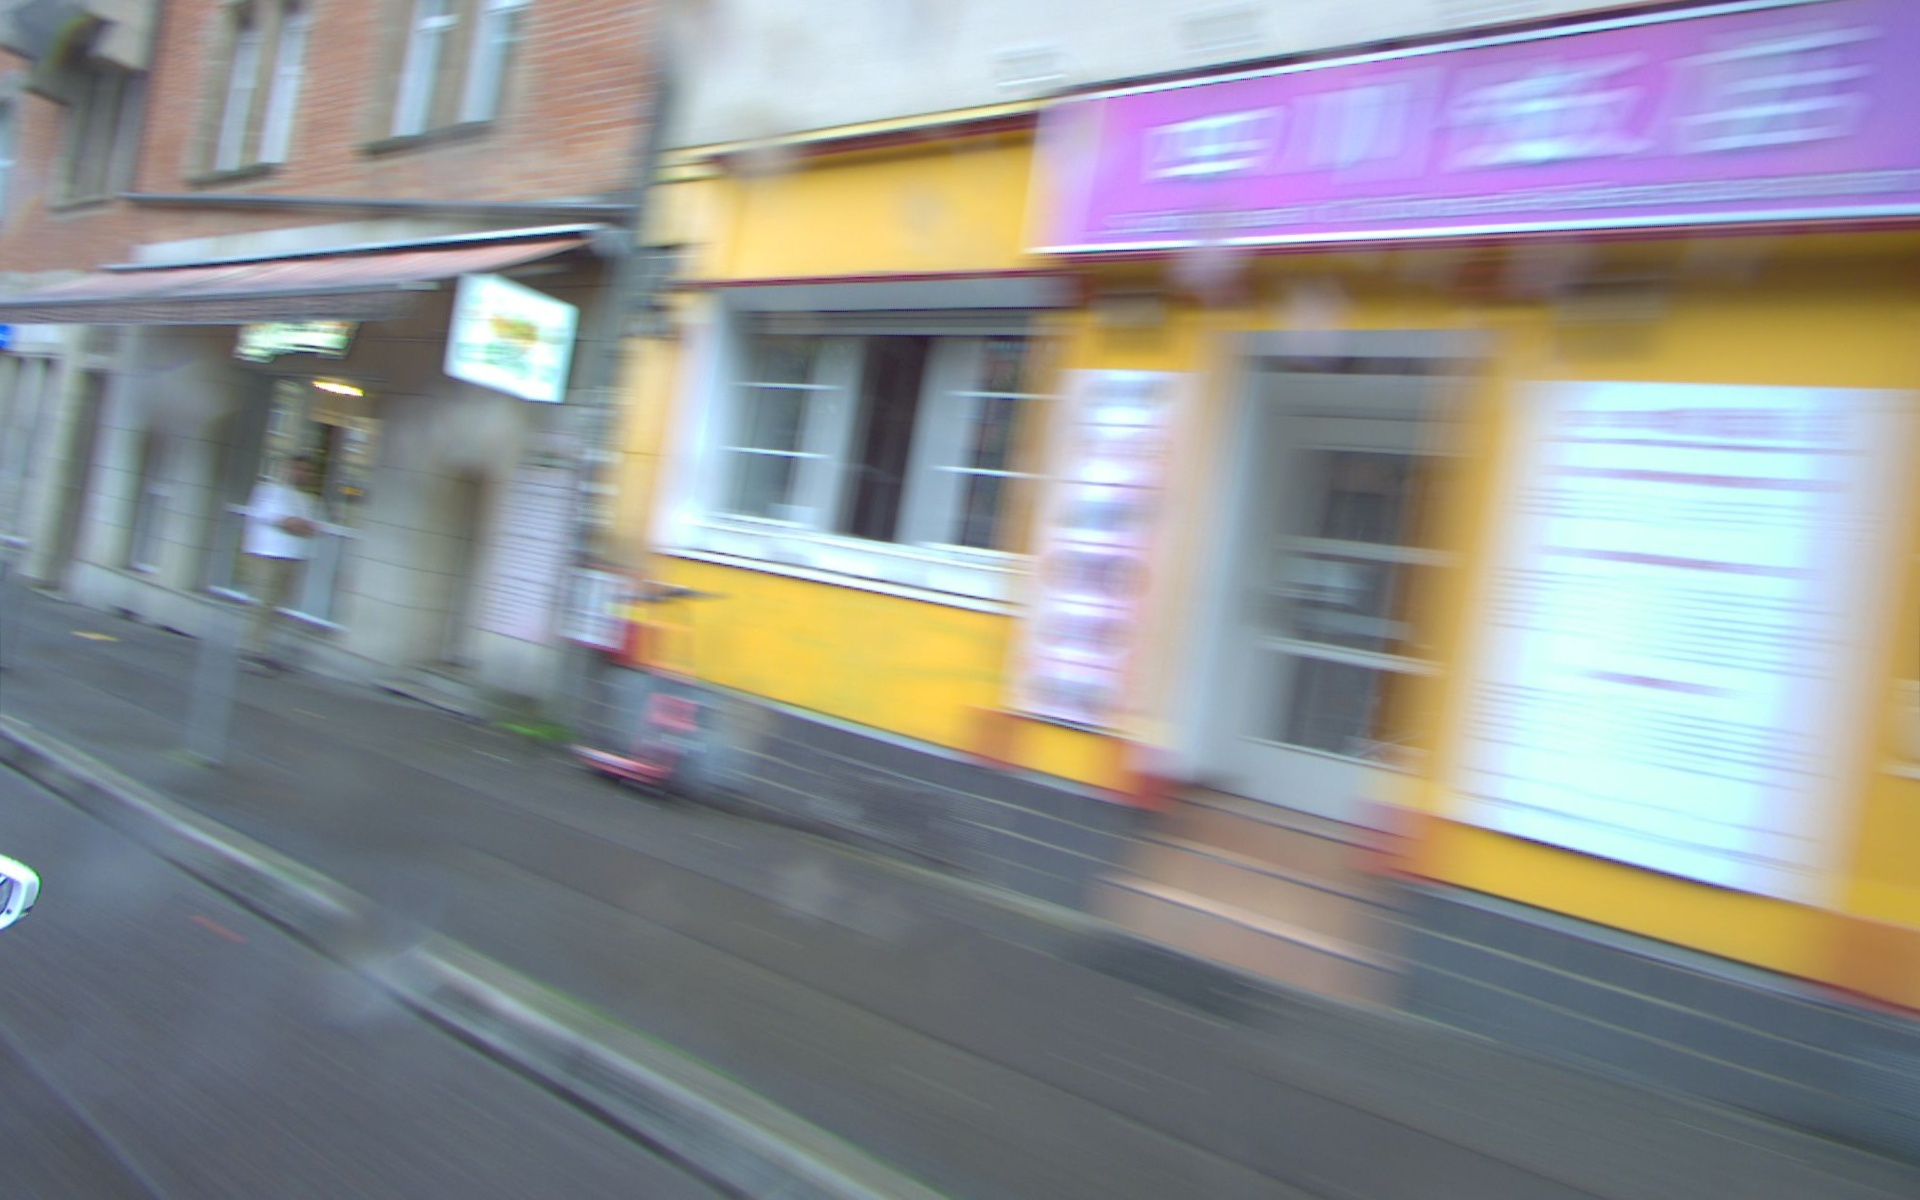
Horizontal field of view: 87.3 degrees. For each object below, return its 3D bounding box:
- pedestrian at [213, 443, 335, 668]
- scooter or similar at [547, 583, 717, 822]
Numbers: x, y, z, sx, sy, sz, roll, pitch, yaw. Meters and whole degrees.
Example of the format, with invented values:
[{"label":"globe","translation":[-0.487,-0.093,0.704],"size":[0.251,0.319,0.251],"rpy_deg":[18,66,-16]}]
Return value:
[{"label":"pedestrian","translation":[-5.943,-0.374,8.725],"size":[0.554,1.854,0.578],"rpy_deg":[7,2,30]},{"label":"scooter or similar","translation":[-2.001,0.577,6.060],"size":[1.178,1.236,0.257],"rpy_deg":[8,-1,42]}]
